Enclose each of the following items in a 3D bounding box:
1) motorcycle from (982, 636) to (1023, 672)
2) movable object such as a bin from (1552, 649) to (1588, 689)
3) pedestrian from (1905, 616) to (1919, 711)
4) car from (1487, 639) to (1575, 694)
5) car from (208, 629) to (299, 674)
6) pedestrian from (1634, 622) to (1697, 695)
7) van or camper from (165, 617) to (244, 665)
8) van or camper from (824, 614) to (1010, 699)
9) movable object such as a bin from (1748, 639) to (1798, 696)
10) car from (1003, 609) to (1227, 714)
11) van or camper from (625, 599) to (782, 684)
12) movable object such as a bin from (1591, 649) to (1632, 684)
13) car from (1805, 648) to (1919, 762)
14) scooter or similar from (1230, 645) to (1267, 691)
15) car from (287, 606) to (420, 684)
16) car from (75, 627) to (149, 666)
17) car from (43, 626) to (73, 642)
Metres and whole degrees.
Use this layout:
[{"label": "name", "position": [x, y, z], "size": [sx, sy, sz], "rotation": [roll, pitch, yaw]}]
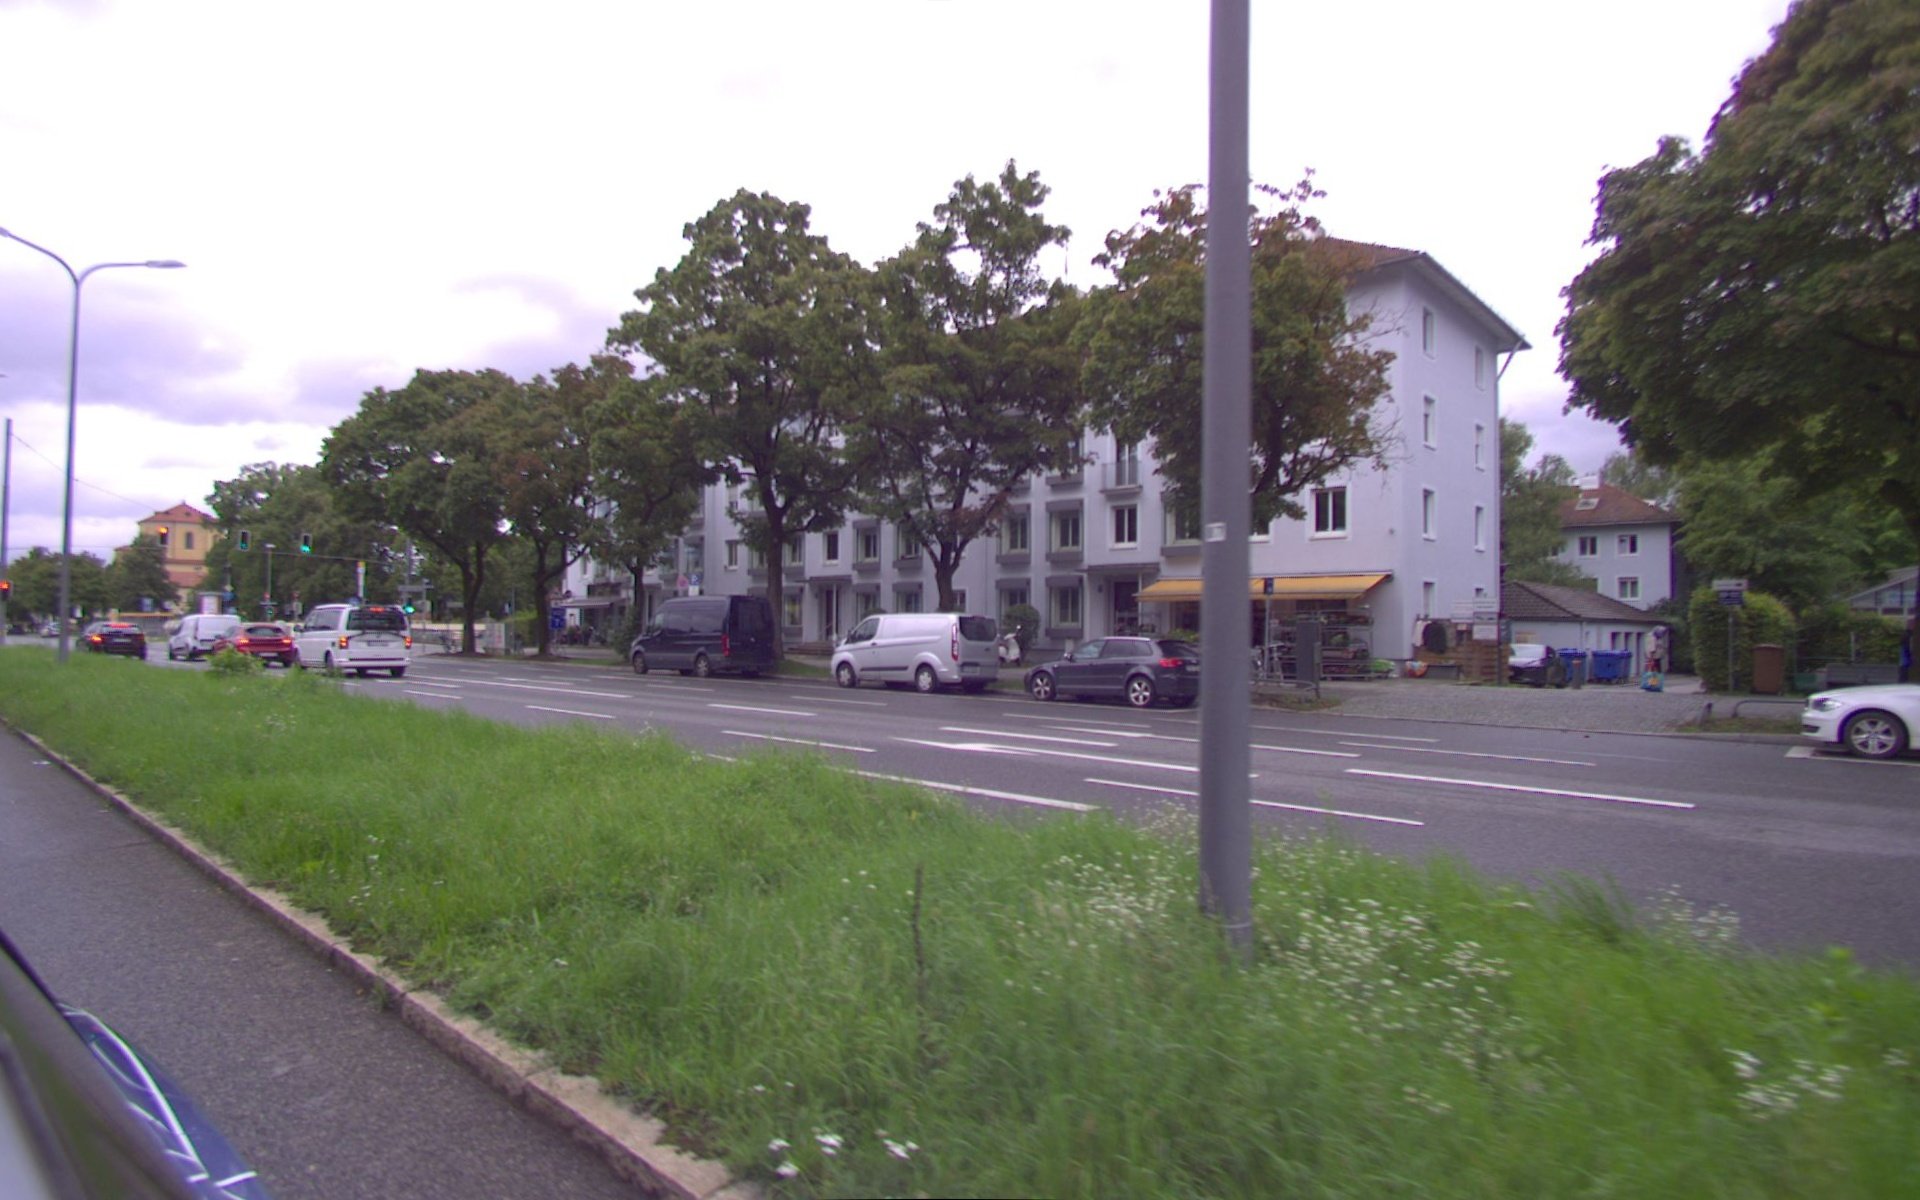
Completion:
[{"label": "motorcycle", "position": [1.464, 1.827, 34.380], "size": [0.463, 1.179, 1.791], "rotation": [-1, -3, 37]}, {"label": "movable object such as a bin", "position": [22.709, 2.550, 37.676], "size": [1.024, 1.379, 1.373], "rotation": [-1, 0, 37]}, {"label": "pedestrian", "position": [17.094, 1.123, 17.786], "size": [0.633, 1.658, 0.533], "rotation": [-1, -3, 39]}, {"label": "car", "position": [16.392, 1.858, 28.956], "size": [1.548, 1.431, 3.947], "rotation": [-1, -3, 39]}, {"label": "car", "position": [-24.202, 1.729, 34.614], "size": [3.671, 1.459, 1.772], "rotation": [-2, -3, 43]}, {"label": "pedestrian", "position": [16.045, 1.318, 23.039], "size": [0.967, 1.615, 0.763], "rotation": [0, -2, 17]}, {"label": "van or camper", "position": [-30.295, 1.638, 40.552], "size": [4.124, 1.811, 1.772], "rotation": [-2, -3, 43]}, {"label": "van or camper", "position": [-1.170, 1.383, 25.804], "size": [4.703, 1.957, 1.999], "rotation": [-2, -3, 43]}, {"label": "movable object such as a bin", "position": [17.213, 1.411, 21.437], "size": [0.764, 1.128, 0.967], "rotation": [-1, 0, 37]}, {"label": "car", "position": [3.225, 1.254, 21.670], "size": [4.546, 2.013, 1.777], "rotation": [-2, -3, 43]}, {"label": "van or camper", "position": [-8.233, 1.295, 32.174], "size": [5.546, 2.506, 2.028], "rotation": [-1, -3, 41]}, {"label": "movable object such as a bin", "position": [26.830, 2.718, 41.676], "size": [1.331, 1.330, 1.373], "rotation": [-1, 0, 37]}, {"label": "car", "position": [13.266, 1.319, 12.484], "size": [4.332, 1.405, 1.658], "rotation": [-1, -3, 41]}, {"label": "scooter or similar", "position": [7.090, 1.653, 24.827], "size": [0.566, 1.021, 1.783], "rotation": [-1, -1, 27]}, {"label": "car", "position": [-17.163, 1.237, 28.537], "size": [4.703, 2.013, 1.918], "rotation": [-2, -3, 43]}, {"label": "car", "position": [-33.352, 1.789, 39.774], "size": [3.671, 1.459, 1.738], "rotation": [-2, -3, 43]}, {"label": "car", "position": [-105.682, 3.983, 118.582], "size": [3.998, 1.904, 2.118], "rotation": [-1, -3, 41]}]
